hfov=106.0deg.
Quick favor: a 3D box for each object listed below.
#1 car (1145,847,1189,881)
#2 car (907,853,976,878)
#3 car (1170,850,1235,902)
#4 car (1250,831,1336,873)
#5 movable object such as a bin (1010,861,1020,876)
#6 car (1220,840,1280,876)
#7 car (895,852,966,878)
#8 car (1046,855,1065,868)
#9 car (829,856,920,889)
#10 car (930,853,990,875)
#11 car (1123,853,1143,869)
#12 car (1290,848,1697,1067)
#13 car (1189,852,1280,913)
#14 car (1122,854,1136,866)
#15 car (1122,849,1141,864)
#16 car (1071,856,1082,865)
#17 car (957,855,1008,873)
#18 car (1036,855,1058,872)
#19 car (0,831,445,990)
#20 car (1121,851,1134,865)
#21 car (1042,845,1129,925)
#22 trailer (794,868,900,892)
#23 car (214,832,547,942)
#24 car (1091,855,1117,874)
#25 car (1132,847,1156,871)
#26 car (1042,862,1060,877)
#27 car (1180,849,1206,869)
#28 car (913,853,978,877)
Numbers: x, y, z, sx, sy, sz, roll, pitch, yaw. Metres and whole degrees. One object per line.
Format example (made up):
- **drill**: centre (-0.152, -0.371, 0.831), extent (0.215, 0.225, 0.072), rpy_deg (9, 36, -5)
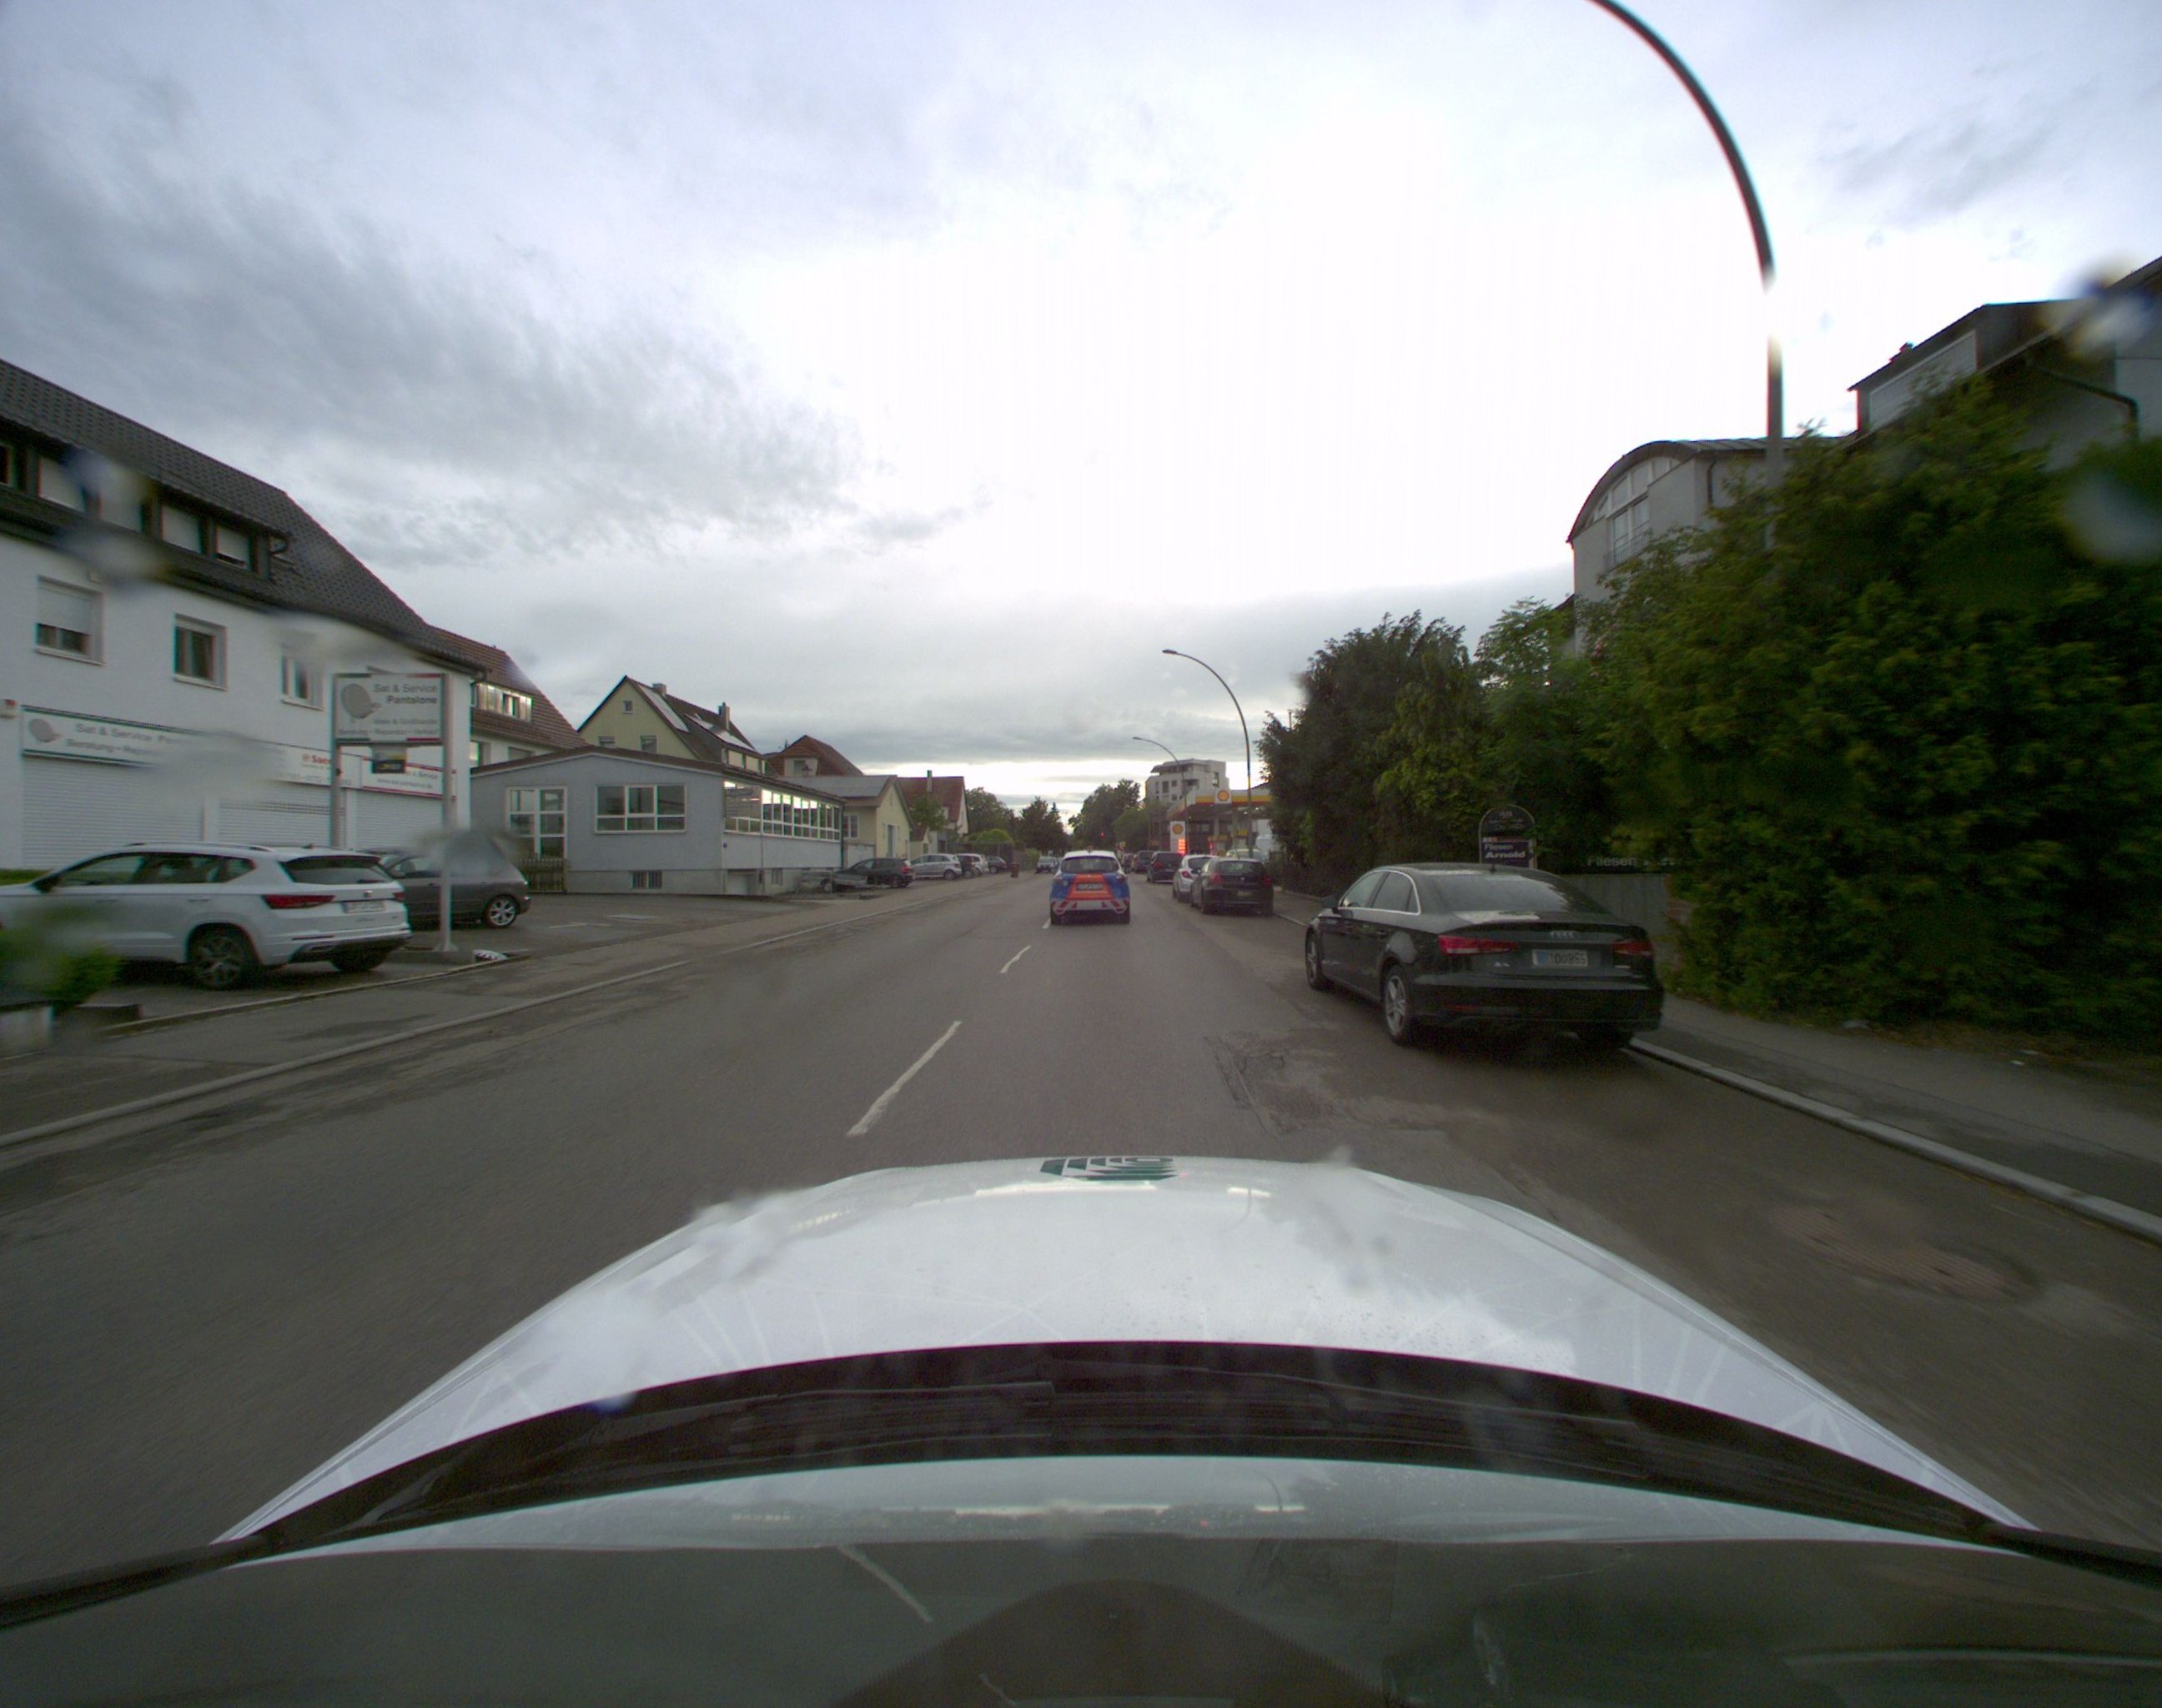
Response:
- **car**: centre (4.404, 0.487, 42.280), extent (1.986, 1.596, 4.002), rpy_deg (-1, 0, 2)
- **car**: centre (-8.873, 0.731, 52.015), extent (4.074, 1.532, 1.812), rpy_deg (-1, 0, -3)
- **car**: centre (3.815, 0.641, 26.098), extent (1.730, 1.502, 3.885), rpy_deg (1, 0, 3)
- **car**: centre (13.307, -0.125, 51.231), extent (4.805, 2.520, 2.232), rpy_deg (-1, 0, -20)
- **movable object such as a bin**: centre (-4.837, 1.072, 59.818), extent (0.593, 1.057, 0.687), rpy_deg (4, 1, 2)
- **car**: centre (8.374, 0.203, 40.719), extent (1.989, 1.683, 3.996), rpy_deg (-1, 0, -3)
- **car**: centre (-9.135, 0.648, 49.708), extent (4.076, 1.532, 1.997), rpy_deg (-1, 0, -4)
- **car**: centre (-2.904, 0.801, 92.827), extent (1.800, 1.403, 3.946), rpy_deg (-2, 0, 2)
- **car**: centre (-9.852, 0.853, 39.084), extent (3.860, 1.438, 1.768), rpy_deg (-1, 0, 0)
- **car**: centre (-8.550, 0.695, 57.899), extent (4.076, 1.513, 1.880), rpy_deg (-1, 0, -5)
- **car**: centre (4.732, 0.624, 74.295), extent (1.650, 1.402, 3.802), rpy_deg (-1, 0, 1)
- **car**: centre (3.274, 0.682, 7.482), extent (1.745, 1.418, 4.112), rpy_deg (-1, 0, 2)
- **car**: centre (3.834, 0.666, 20.937), extent (1.731, 1.403, 3.720), rpy_deg (1, 0, 2)
- **car**: centre (6.850, 0.898, 117.235), extent (1.859, 1.665, 4.321), rpy_deg (0, 0, 1)
- **car**: centre (5.970, 0.306, 95.812), extent (2.083, 1.662, 4.561), rpy_deg (0, 1, 2)
- **car**: centre (-0.719, 1.139, 139.559), extent (1.619, 1.433, 3.687), rpy_deg (-1, 0, 4)
- **car**: centre (-7.962, 0.782, 66.013), extent (4.077, 1.414, 1.711), rpy_deg (0, 0, -5)
- **car**: centre (-3.091, 0.844, 74.583), extent (1.602, 1.506, 3.709), rpy_deg (-2, 0, 2)
- **car**: centre (-10.499, 0.608, 9.834), extent (3.975, 1.647, 2.000), rpy_deg (1, 0, -1)
- **car**: centre (7.073, 0.537, 123.332), extent (1.769, 2.029, 4.760), rpy_deg (0, 1, 4)
- **car**: centre (0.163, 0.626, 18.622), extent (1.739, 1.581, 4.002), rpy_deg (-1, 0, 2)
- **trailer**: centre (-10.425, 1.141, 36.492), extent (4.184, 0.943, 1.794), rpy_deg (-1, 0, -1)
- **car**: centre (-12.025, 0.533, 14.374), extent (1.806, 1.530, 4.017), rpy_deg (4, 0, 16)
- **car**: centre (2.160, 0.951, 75.336), extent (1.983, 1.574, 4.008), rpy_deg (0, 1, 7)
- **car**: centre (4.941, 0.400, 64.195), extent (1.650, 1.738, 4.445), rpy_deg (2, 0, 1)
- **car**: centre (-3.043, 1.579, 82.863), extent (1.540, 1.403, 3.599), rpy_deg (-2, 0, 2)
- **car**: centre (10.529, 0.487, 76.546), extent (1.814, 1.759, 3.998), rpy_deg (-1, 0, -1)
- **car**: centre (-8.923, 0.705, 53.961), extent (4.076, 1.503, 1.754), rpy_deg (-1, 0, -5)
